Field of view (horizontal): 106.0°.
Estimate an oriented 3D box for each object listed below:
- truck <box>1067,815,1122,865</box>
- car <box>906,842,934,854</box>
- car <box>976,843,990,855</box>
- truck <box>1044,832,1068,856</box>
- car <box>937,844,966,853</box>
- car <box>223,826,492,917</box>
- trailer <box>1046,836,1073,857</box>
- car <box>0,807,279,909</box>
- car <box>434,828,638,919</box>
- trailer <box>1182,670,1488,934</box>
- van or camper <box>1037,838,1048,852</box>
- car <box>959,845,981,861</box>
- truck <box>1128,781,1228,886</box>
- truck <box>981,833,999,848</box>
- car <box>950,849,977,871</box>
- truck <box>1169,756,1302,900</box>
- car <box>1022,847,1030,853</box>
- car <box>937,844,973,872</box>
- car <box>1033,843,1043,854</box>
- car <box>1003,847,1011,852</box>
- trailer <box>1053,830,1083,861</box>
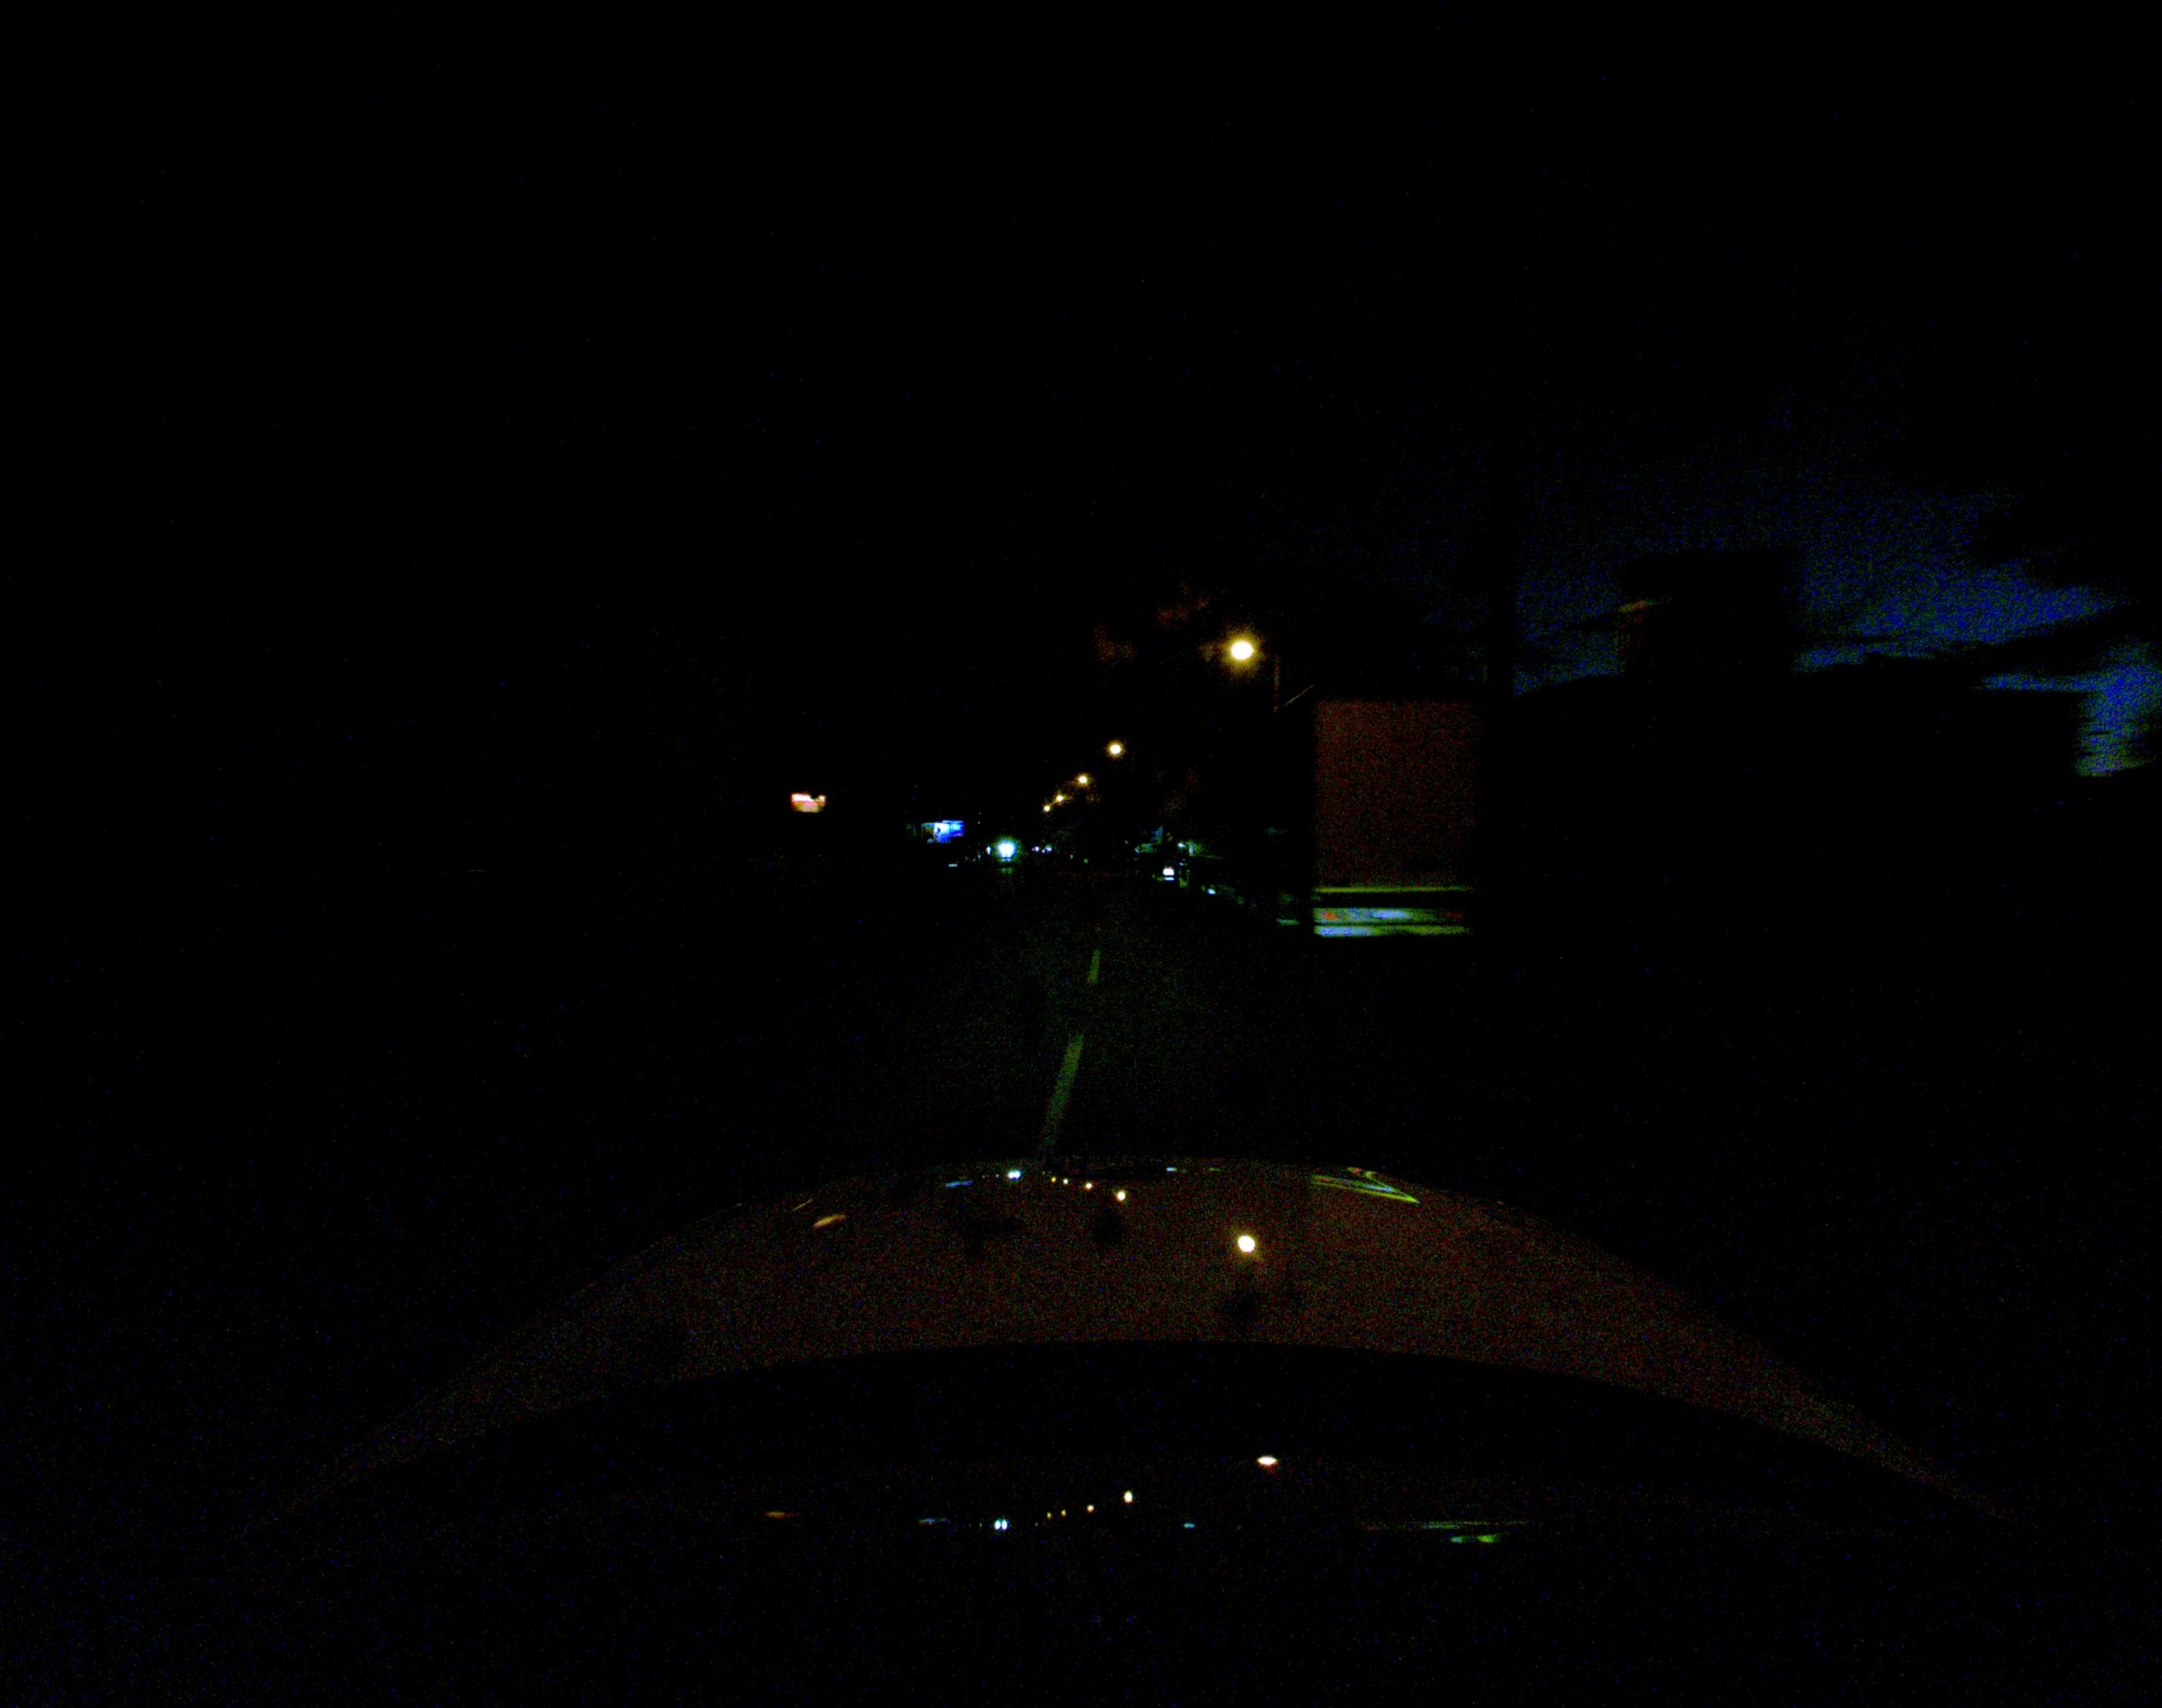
[{"bbox_3d":[1.013,-1.118,69.652,3.516,3.983,10.321,0,0,-6],"label":"truck"},{"bbox_3d":[-24.275,-0.924,122.793,3.985,1.651,1.995,1,0,-8],"label":"car"},{"bbox_3d":[-15.196,-0.745,126.585,1.990,1.794,3.993,1,0,-5],"label":"car"},{"bbox_3d":[-3.758,-1.395,121.146,3.146,3.463,6.661,0,0,-5],"label":"truck"},{"bbox_3d":[-22.722,-0.885,142.504,4.639,1.485,1.982,1,0,-28],"label":"car"},{"bbox_3d":[-13.579,0.272,15.725,1.829,1.494,4.510,1,1,-12],"label":"car"},{"bbox_3d":[-3.115,-1.024,114.046,3.179,2.749,10.695,0,0,-5],"label":"trailer"},{"bbox_3d":[-17.754,0.030,14.752,1.825,1.581,4.946,1,0,-5],"label":"car"},{"bbox_3d":[-10.271,0.299,15.801,1.830,1.494,4.506,1,1,-14],"label":"car"},{"bbox_3d":[4.718,-0.808,19.309,2.800,3.983,13.971,0,0,0],"label":"trailer"},{"bbox_3d":[-7.329,-1.762,154.796,1.990,2.581,4.907,1,0,-4],"label":"van or camper"},{"bbox_3d":[-10.131,-0.131,74.654,1.838,1.420,3.993,1,0,-5],"label":"car"},{"bbox_3d":[4.009,-0.774,36.189,2.823,3.983,10.333,0,0,-2],"label":"truck"},{"bbox_3d":[-22.771,-3.360,203.330,3.891,3.621,8.231,1,0,-10],"label":"truck"},{"bbox_3d":[-8.015,0.384,55.926,1.599,1.354,3.992,1,1,-6],"label":"car"},{"bbox_3d":[4.641,-0.738,25.725,2.823,3.983,6.044,0,0,-2],"label":"truck"},{"bbox_3d":[-15.189,-1.083,224.994,1.990,1.684,3.993,1,0,-5],"label":"car"},{"bbox_3d":[-7.804,0.252,50.753,1.991,1.636,4.763,1,0,-7],"label":"car"},{"bbox_3d":[-9.336,-1.182,175.061,1.990,2.145,3.993,1,0,-5],"label":"car"},{"bbox_3d":[-18.025,-1.108,198.868,1.990,1.398,3.993,1,0,-5],"label":"car"},{"bbox_3d":[-1.604,-0.956,97.616,2.685,3.464,7.788,1,0,-8],"label":"trailer"}]
